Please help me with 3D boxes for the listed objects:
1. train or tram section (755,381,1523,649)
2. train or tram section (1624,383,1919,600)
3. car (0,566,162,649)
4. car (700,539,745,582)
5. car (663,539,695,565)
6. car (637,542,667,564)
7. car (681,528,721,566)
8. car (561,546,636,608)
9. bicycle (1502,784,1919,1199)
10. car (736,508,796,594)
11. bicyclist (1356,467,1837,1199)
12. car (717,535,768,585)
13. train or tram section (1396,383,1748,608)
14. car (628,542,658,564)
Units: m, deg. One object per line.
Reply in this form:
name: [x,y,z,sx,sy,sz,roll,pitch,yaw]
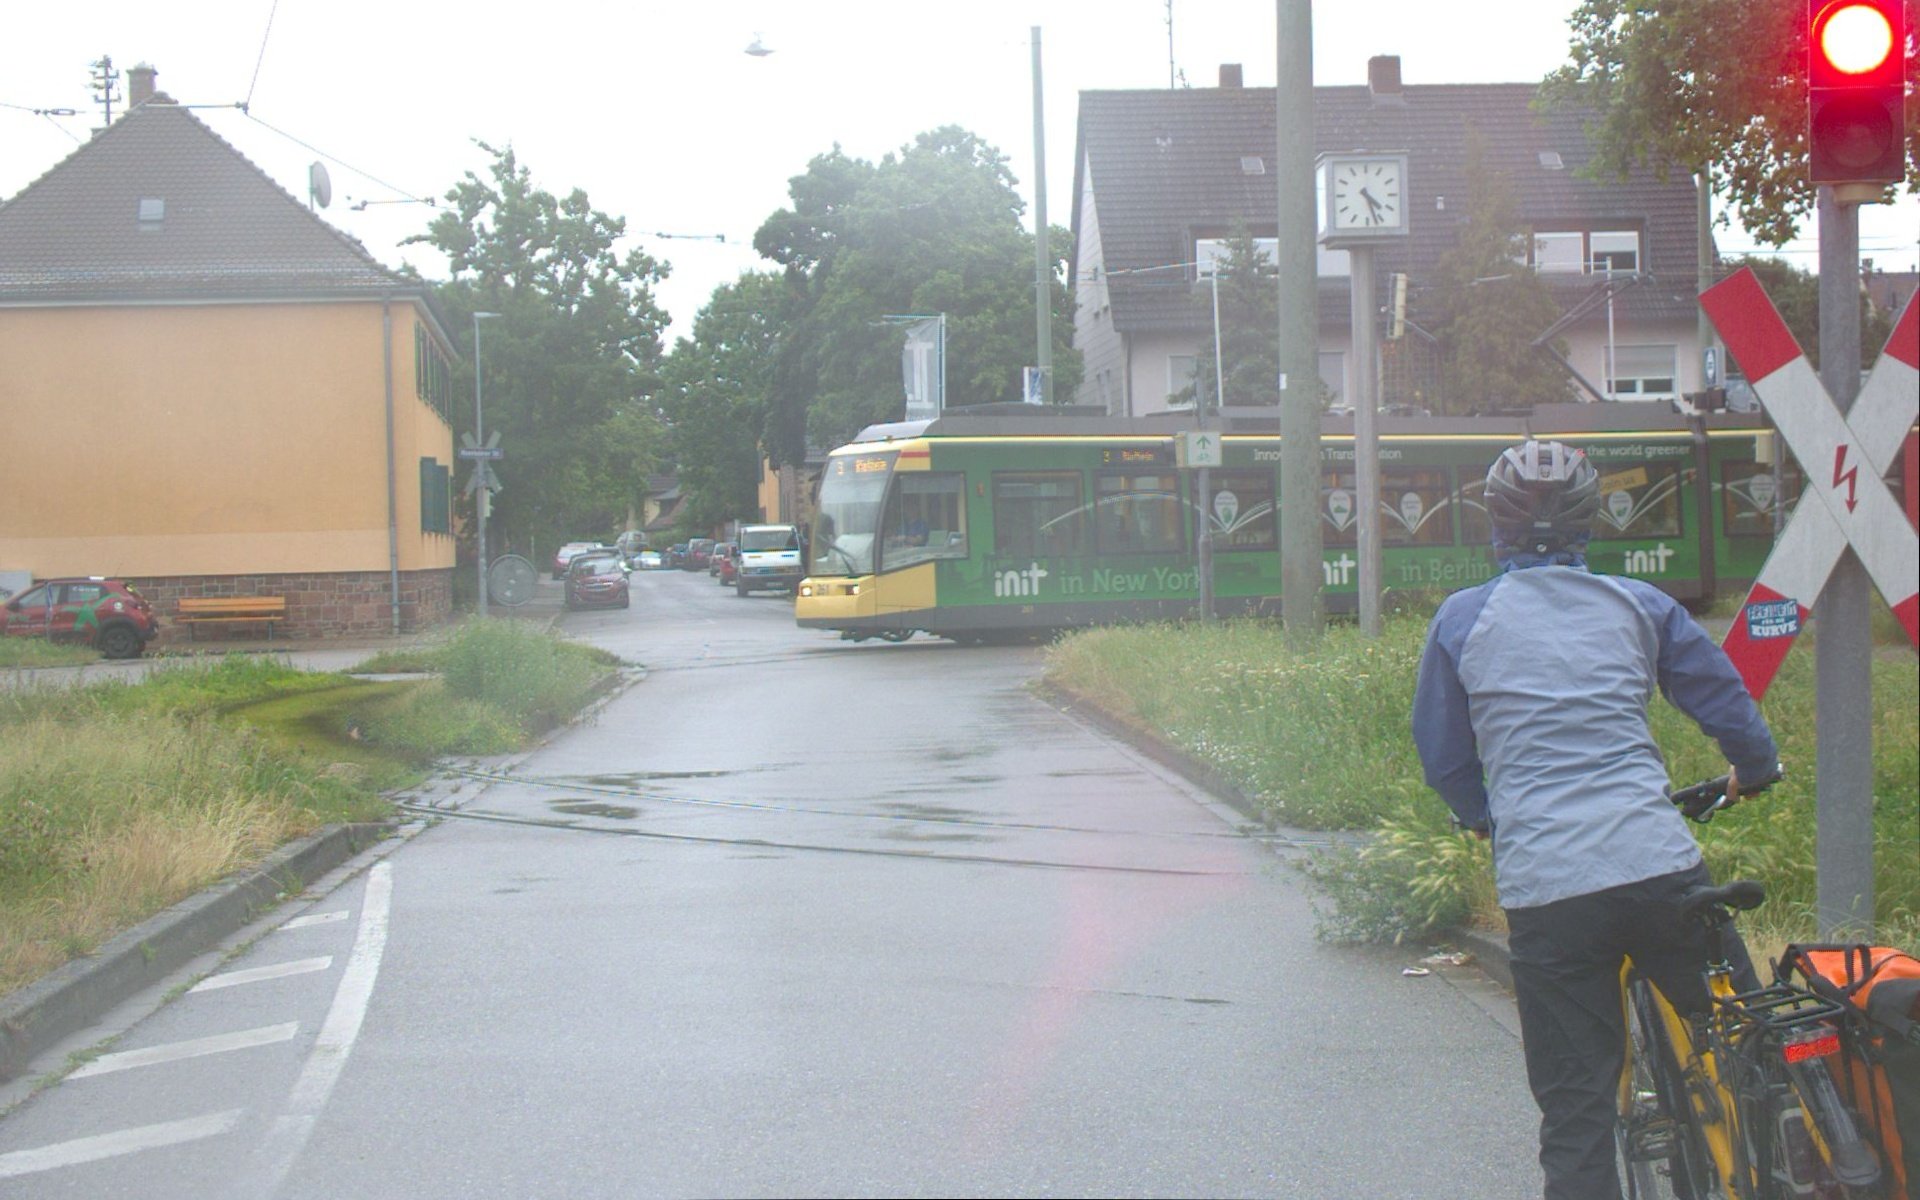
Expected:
train or tram section: [2.953,-1.418,52.177,12.165,3.540,2.770,-3,3,-32]
train or tram section: [17.992,-1.828,58.053,13.086,3.541,2.770,0,1,-7]
car: [-16.674,0.116,62.595,3.986,1.451,1.834,1,0,-6]
car: [-10.156,-1.705,147.409,1.804,1.805,4.000,1,1,-3]
car: [-17.247,-2.938,211.247,1.804,1.558,4.000,1,1,-3]
car: [-20.459,-3.103,228.431,1.804,1.456,4.000,1,1,-3]
car: [-12.390,-2.527,164.634,1.804,1.805,4.000,1,1,-3]
car: [-10.040,-0.650,95.707,1.804,1.645,4.000,1,1,-3]
bicycle: [1.344,0.897,6.071,0.446,1.001,1.728,-1,1,-2]
car: [-6.078,-1.533,108.046,1.804,2.618,4.000,1,1,-3]
bicyclist: [1.114,0.589,6.186,0.667,1.620,0.853,1,0,-2]
car: [-8.066,-1.481,127.924,1.804,1.805,4.000,1,1,-3]
train or tram section: [10.035,-1.747,56.382,4.971,3.540,2.770,-2,2,-26]
car: [-21.567,-3.172,233.722,1.804,1.456,4.000,1,1,-3]
